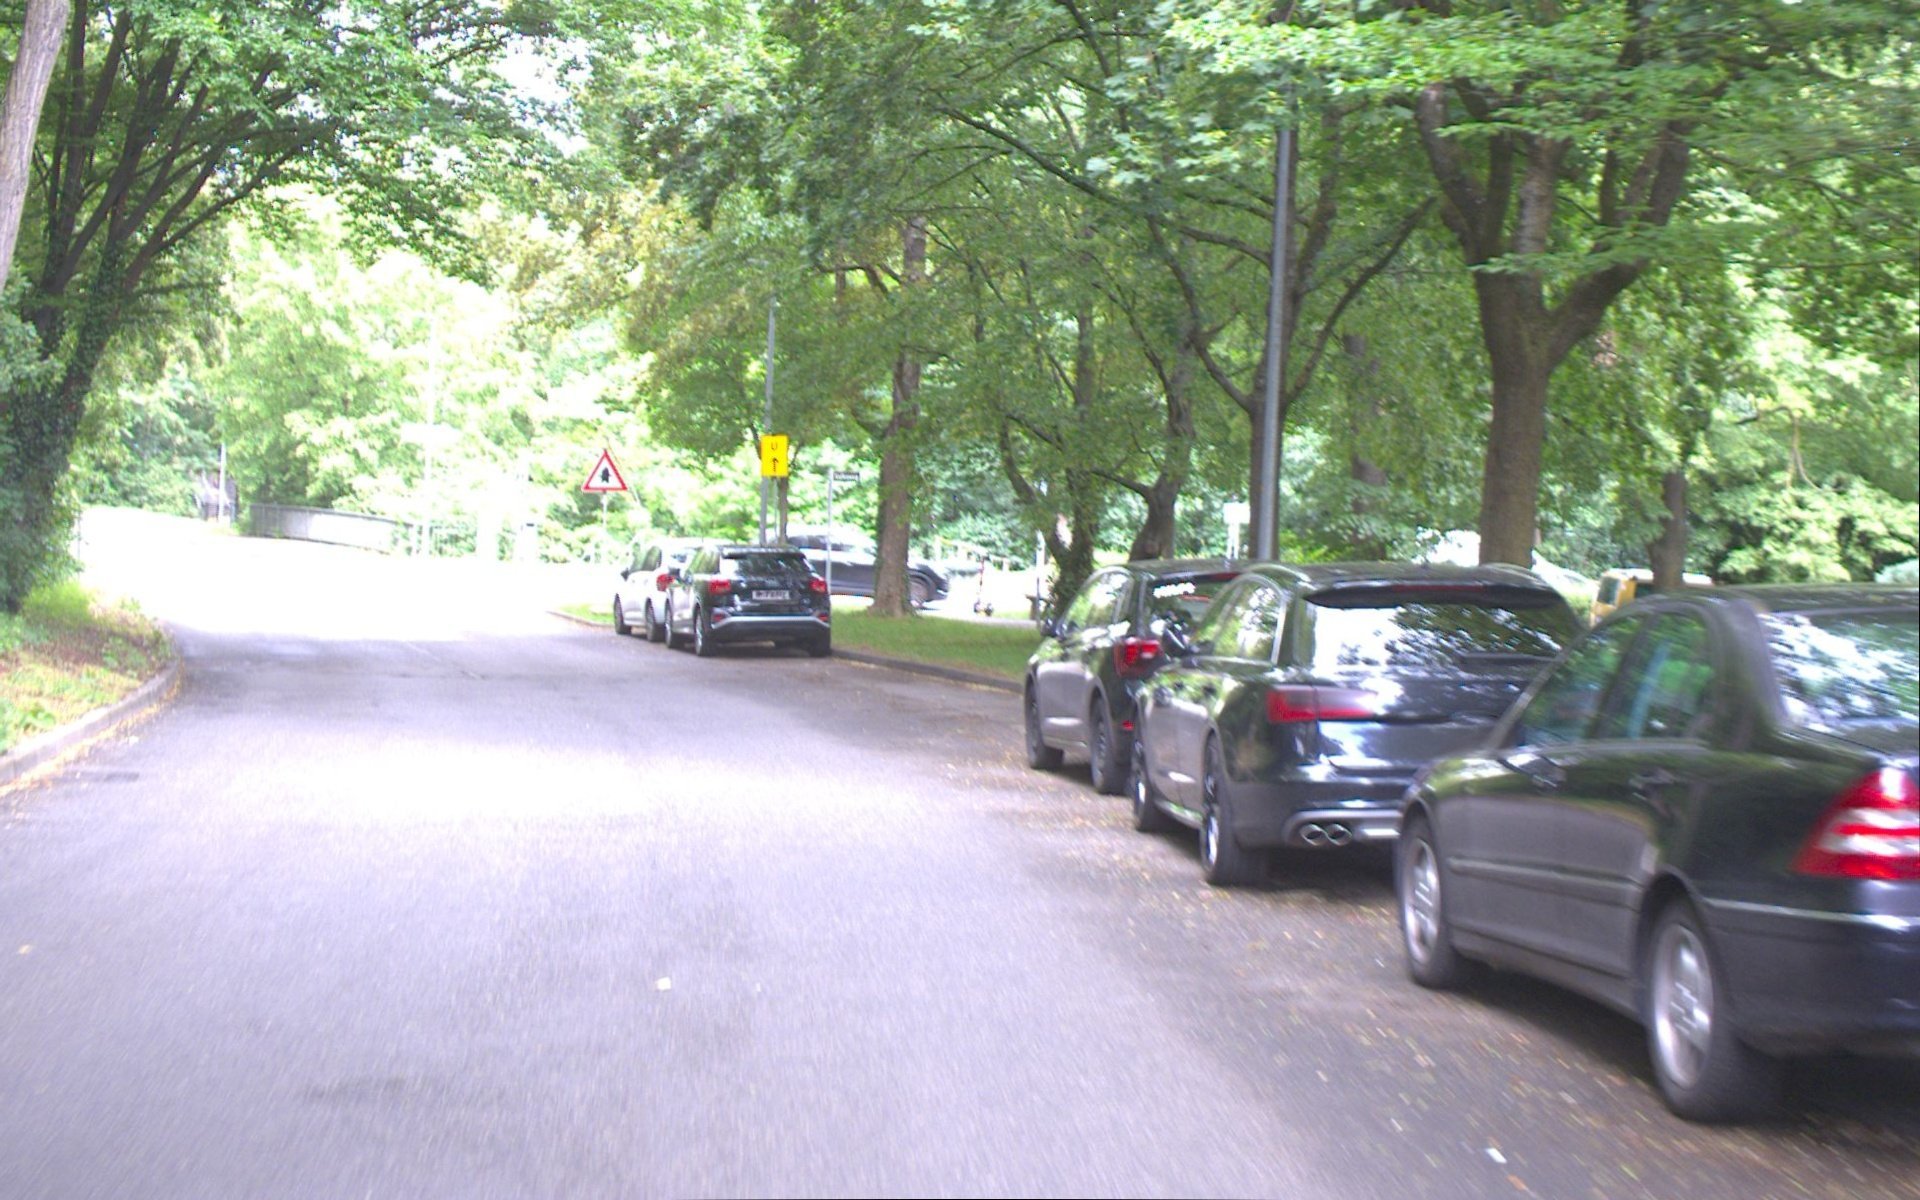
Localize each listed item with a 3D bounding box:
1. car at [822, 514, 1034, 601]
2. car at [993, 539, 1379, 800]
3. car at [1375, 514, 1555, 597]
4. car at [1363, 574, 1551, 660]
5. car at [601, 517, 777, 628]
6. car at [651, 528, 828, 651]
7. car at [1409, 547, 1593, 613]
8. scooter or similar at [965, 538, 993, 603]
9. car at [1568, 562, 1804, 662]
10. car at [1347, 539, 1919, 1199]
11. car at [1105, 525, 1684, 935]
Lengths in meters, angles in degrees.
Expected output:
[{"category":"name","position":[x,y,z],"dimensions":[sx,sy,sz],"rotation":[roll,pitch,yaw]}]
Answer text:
[{"category":"car","position":[-0.693,-0.913,72.993],"dimensions":[4.220,1.680,1.800],"rotation":[2,1,-9]},{"category":"car","position":[1.366,0.382,22.331],"dimensions":[1.681,1.459,3.899],"rotation":[2,1,-8]},{"category":"car","position":[13.243,-1.171,90.318],"dimensions":[4.204,2.007,2.001],"rotation":[2,1,-9]},{"category":"car","position":[10.232,0.346,70.936],"dimensions":[3.516,1.564,1.832],"rotation":[2,2,-2]},{"category":"car","position":[-4.106,-0.437,51.563],"dimensions":[1.773,1.517,3.782],"rotation":[1,1,-18]},{"category":"car","position":[-3.088,-0.175,47.303],"dimensions":[1.773,1.517,4.185],"rotation":[2,1,-12]},{"category":"car","position":[13.736,-0.511,87.365],"dimensions":[4.204,1.493,1.800],"rotation":[2,1,-9]},{"category":"scooter or similar","position":[0.382,-0.597,69.374],"dimensions":[0.282,1.282,1.108],"rotation":[2,1,-12]},{"category":"car","position":[15.155,0.249,71.894],"dimensions":[4.395,1.842,1.833],"rotation":[2,2,-5]},{"category":"car","position":[2.464,0.611,10.184],"dimensions":[1.589,1.460,4.318],"rotation":[2,2,-7]},{"category":"car","position":[1.890,0.486,16.501],"dimensions":[1.913,1.606,4.735],"rotation":[2,1,-3]}]
